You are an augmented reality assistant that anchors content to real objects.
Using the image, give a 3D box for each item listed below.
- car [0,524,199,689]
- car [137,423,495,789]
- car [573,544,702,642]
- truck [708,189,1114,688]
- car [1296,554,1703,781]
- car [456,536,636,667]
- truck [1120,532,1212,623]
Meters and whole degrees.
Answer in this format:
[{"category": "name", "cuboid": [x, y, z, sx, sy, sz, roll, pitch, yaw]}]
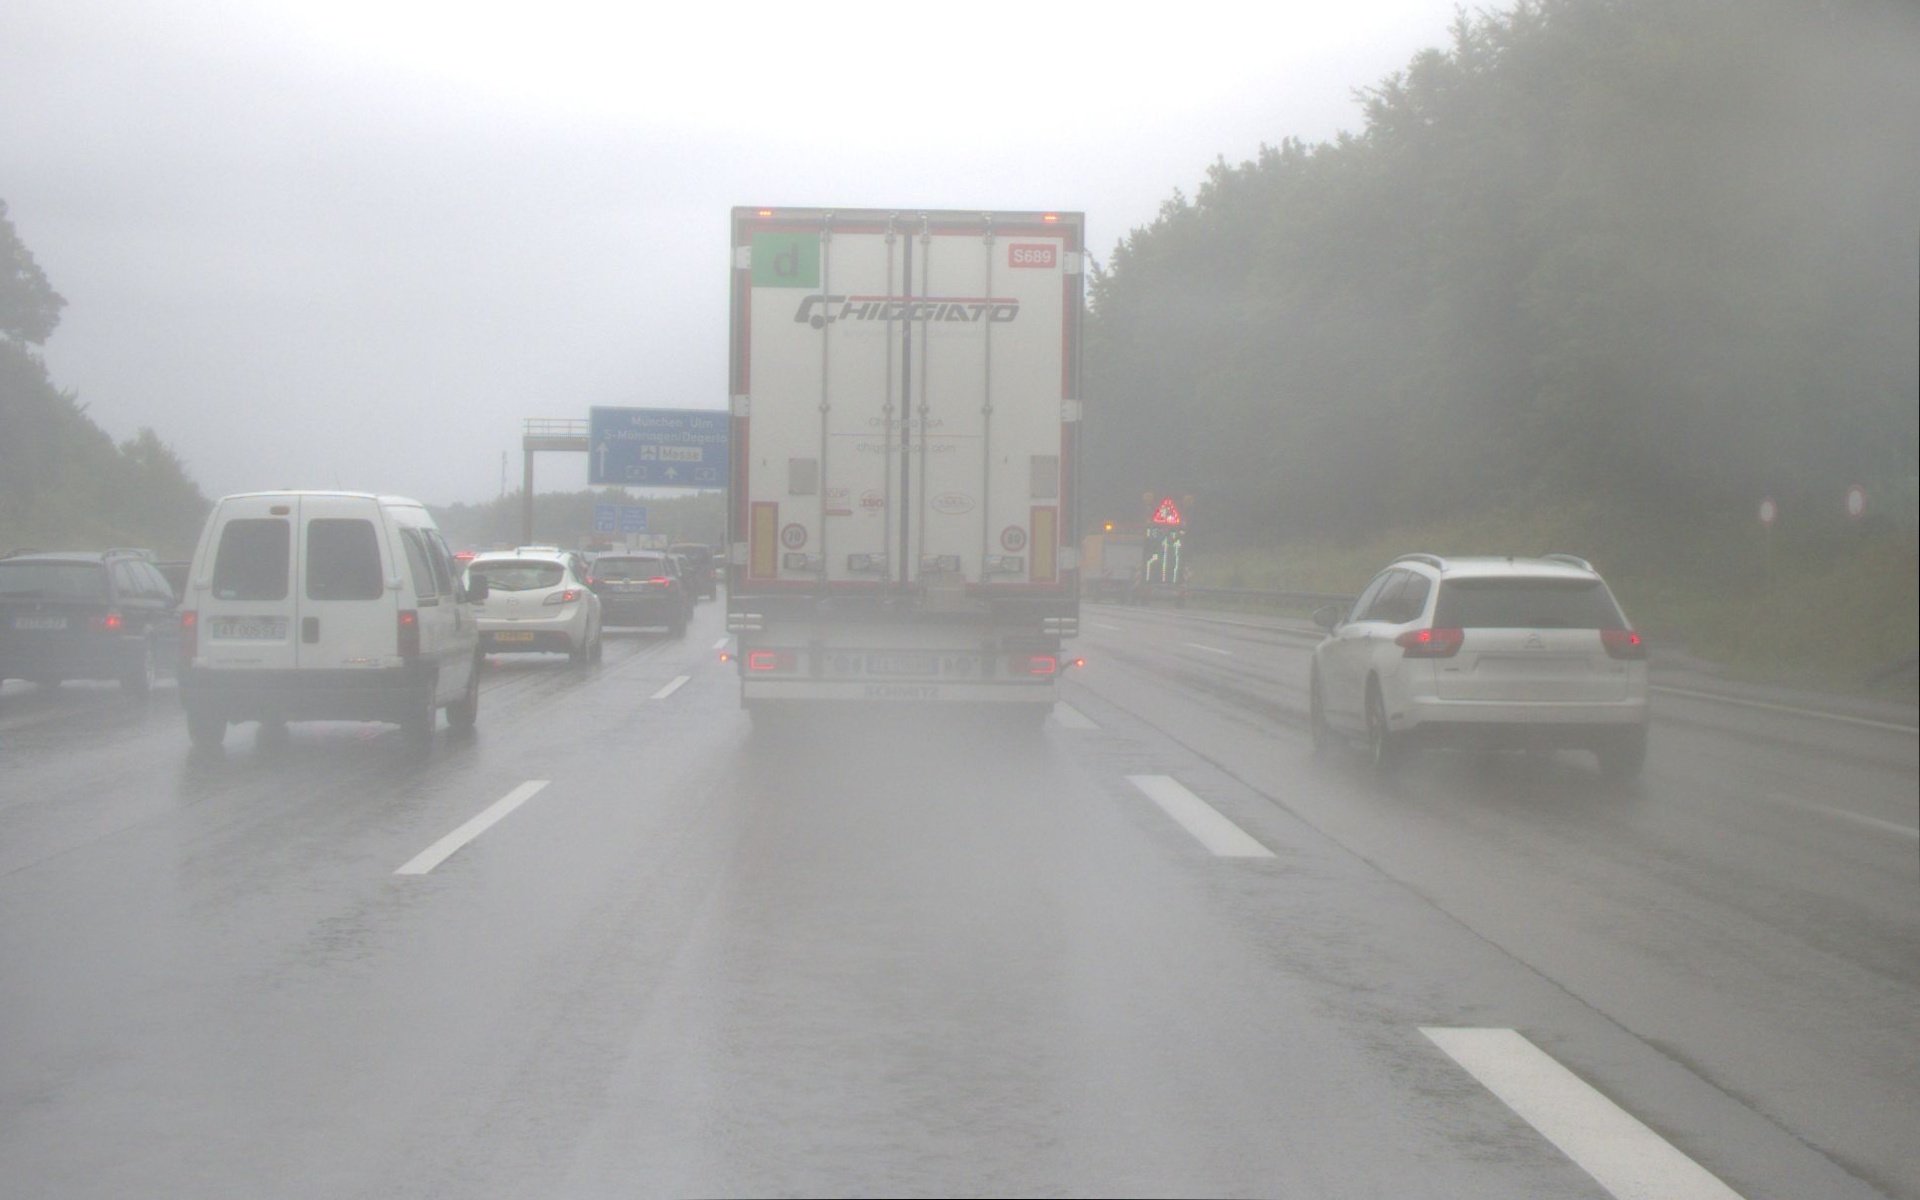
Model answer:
[{"category": "car", "cuboid": [-8.981, 0.009, 34.061, 2.090, 1.499, 4.755, 1, 1, -4]}, {"category": "car", "cuboid": [-4.900, -0.005, 26.875, 2.212, 2.564, 5.016, 1, 1, -5]}, {"category": "car", "cuboid": [-5.569, -0.154, 59.887, 1.845, 1.586, 4.467, 1, 1, -1]}, {"category": "truck", "cuboid": [-0.506, -1.203, 30.440, 2.872, 3.550, 11.303, 1, 0, -2]}, {"category": "car", "cuboid": [3.670, 0.402, 24.241, 2.007, 1.389, 4.568, 1, 1, -2]}, {"category": "car", "cuboid": [-5.299, -0.022, 44.427, 1.845, 1.586, 4.072, 1, 1, -1]}, {"category": "truck", "cuboid": [6.829, -0.787, 114.692, 2.589, 2.931, 6.456, 1, 1, -1]}]
